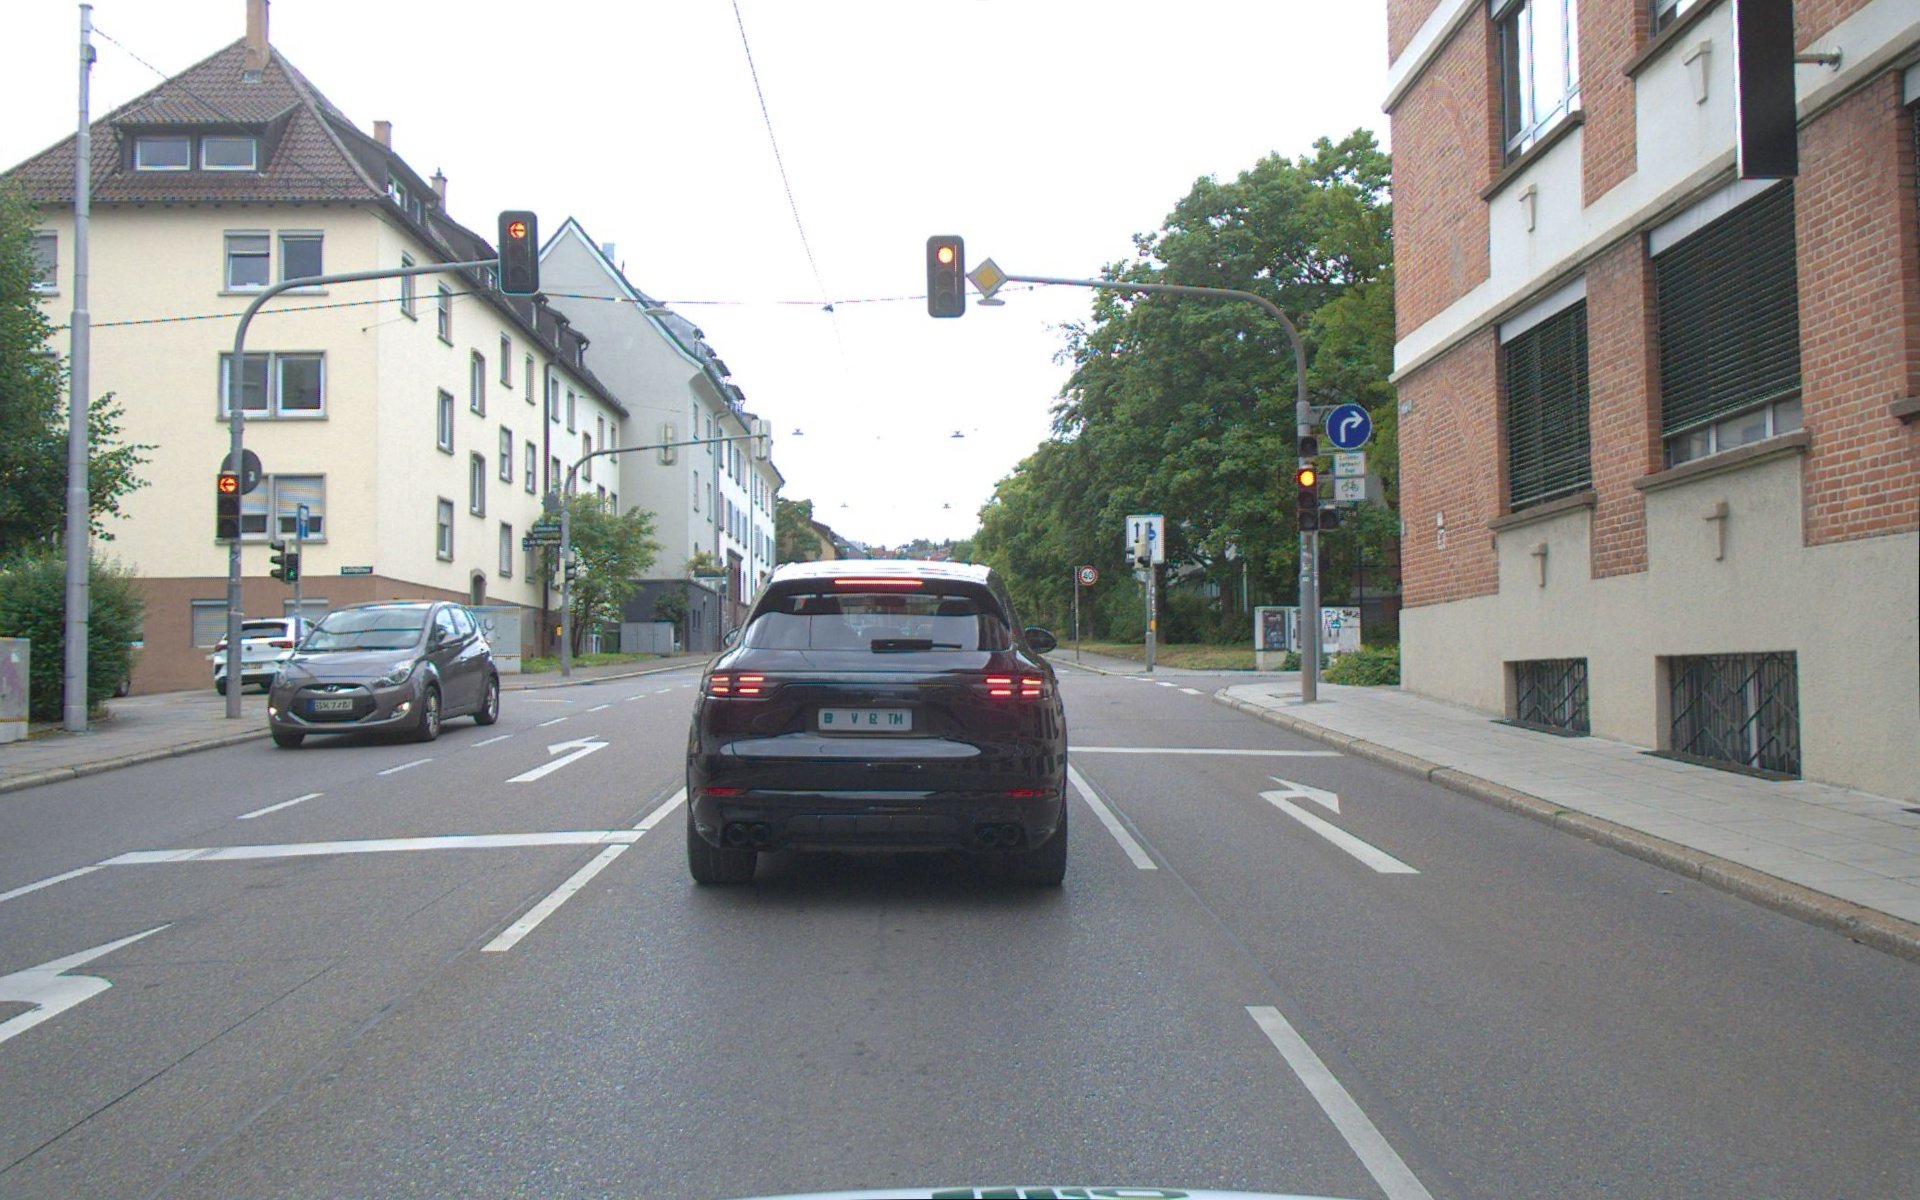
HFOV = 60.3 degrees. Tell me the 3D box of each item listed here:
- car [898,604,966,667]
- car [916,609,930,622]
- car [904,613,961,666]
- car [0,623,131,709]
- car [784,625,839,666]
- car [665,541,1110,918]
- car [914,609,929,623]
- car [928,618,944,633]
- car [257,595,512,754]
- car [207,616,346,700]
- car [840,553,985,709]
[{"bbox_3d":[-0.763,0.961,46.398,1.790,1.633,4.134,1,0,-1],"label":"car"},{"bbox_3d":[-4.736,1.963,212.768,1.790,1.633,4.134,1,0,-1],"label":"car"},{"bbox_3d":[-0.895,1.295,55.108,1.790,1.633,3.858,1,0,-1],"label":"car"},{"bbox_3d":[-19.634,1.390,35.794,1.658,1.636,3.762,-3,1,-5],"label":"car"},{"bbox_3d":[-5.830,1.776,65.426,1.749,1.443,4.669,-2,0,-1],"label":"car"},{"bbox_3d":[-0.348,0.582,9.694,2.007,1.695,4.266,1,0,-1],"label":"car"},{"bbox_3d":[-4.807,2.029,205.441,1.790,1.633,4.134,1,0,-1],"label":"car"},{"bbox_3d":[-2.676,2.850,185.000,1.790,1.633,4.134,1,0,-1],"label":"car"},{"bbox_3d":[-6.740,0.794,19.822,1.669,1.614,3.935,-3,0,-1],"label":"car"},{"bbox_3d":[-14.801,1.212,36.003,1.658,1.582,3.762,-3,1,-5],"label":"car"},{"bbox_3d":[-0.664,0.406,24.482,1.925,2.078,4.134,1,0,-1],"label":"car"}]
